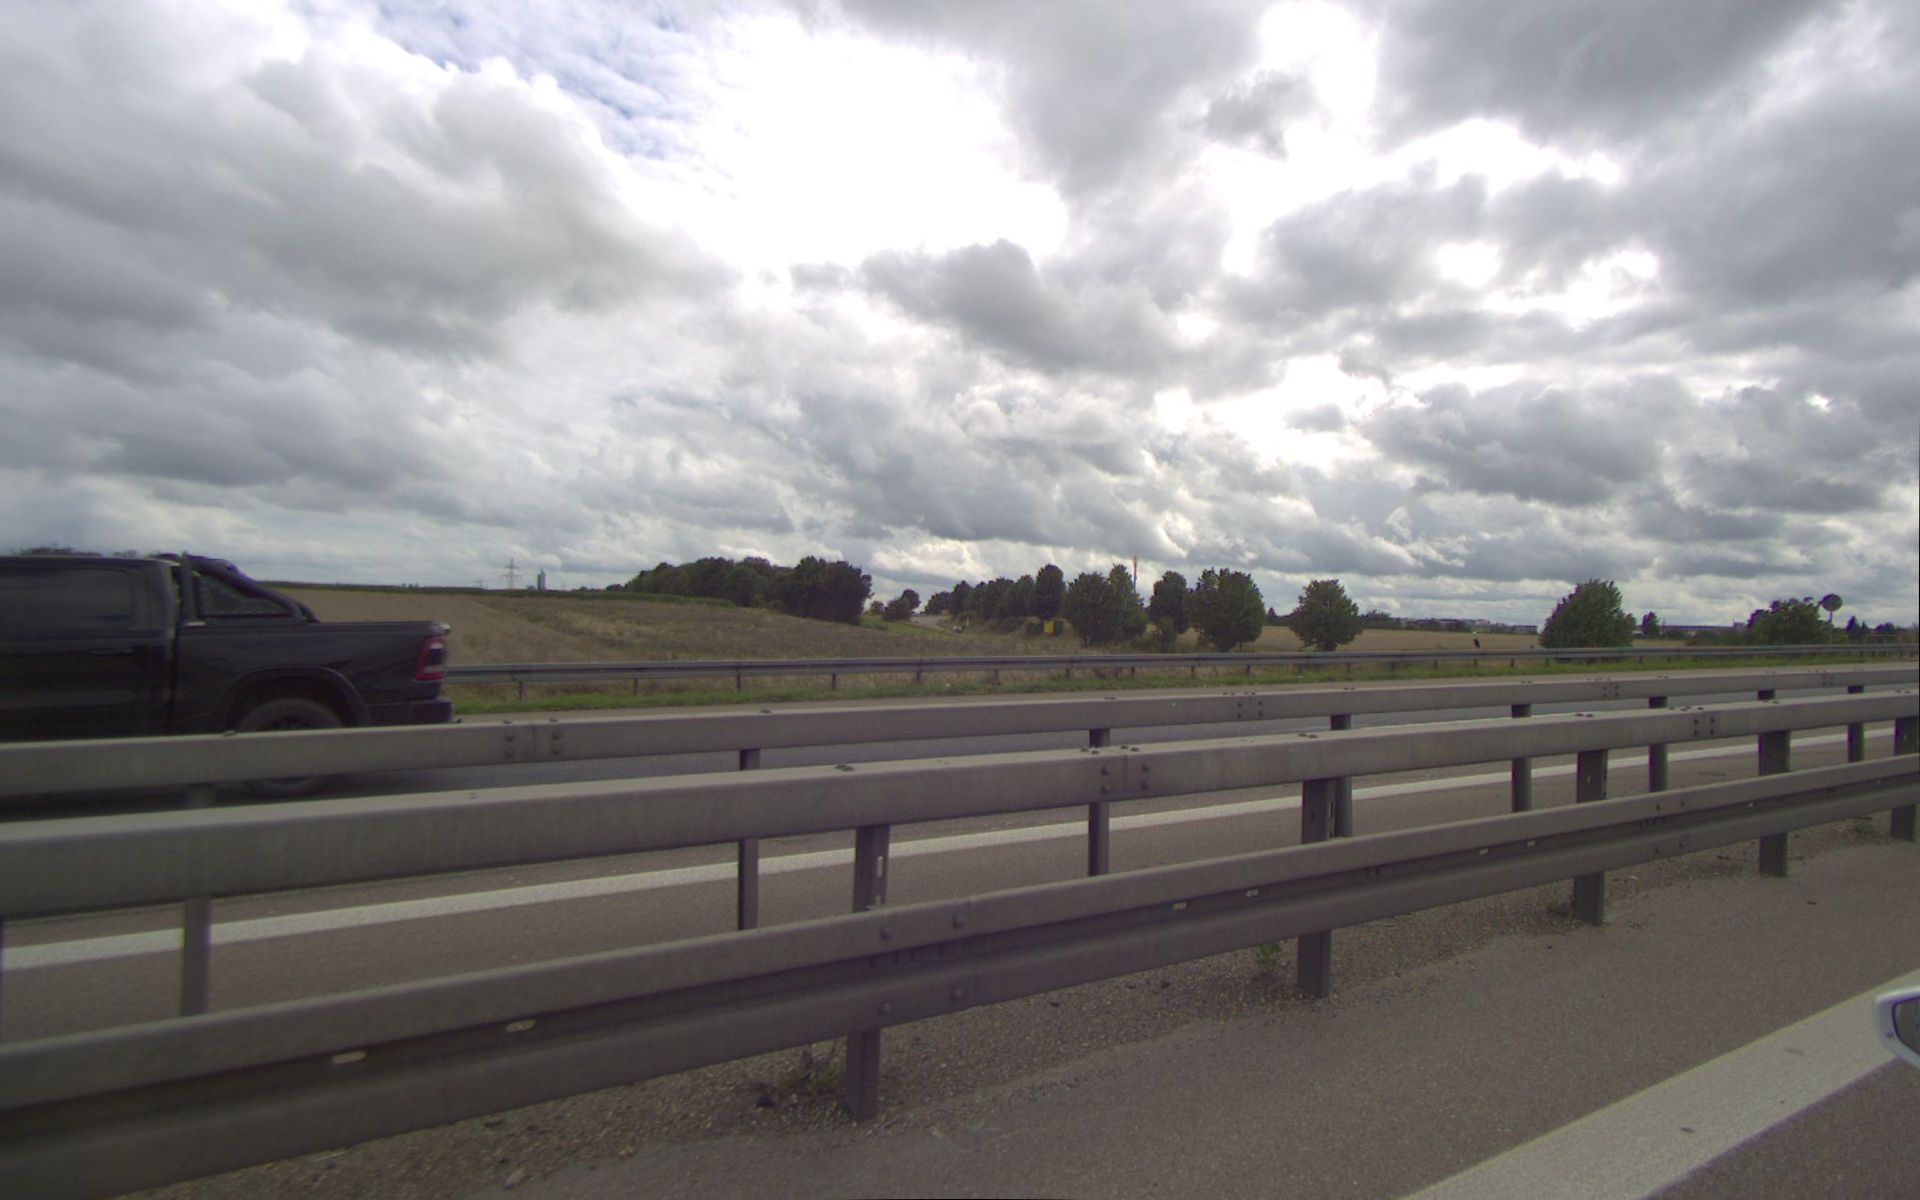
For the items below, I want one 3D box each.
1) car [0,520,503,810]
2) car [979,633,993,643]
[{"bbox_3d":[-7.061,0.470,8.043,6.030,2.040,1.984,1,-1,-30],"label":"car"},{"bbox_3d":[5.107,7.459,197.494,1.848,1.951,3.738,2,-1,-10],"label":"car"}]
